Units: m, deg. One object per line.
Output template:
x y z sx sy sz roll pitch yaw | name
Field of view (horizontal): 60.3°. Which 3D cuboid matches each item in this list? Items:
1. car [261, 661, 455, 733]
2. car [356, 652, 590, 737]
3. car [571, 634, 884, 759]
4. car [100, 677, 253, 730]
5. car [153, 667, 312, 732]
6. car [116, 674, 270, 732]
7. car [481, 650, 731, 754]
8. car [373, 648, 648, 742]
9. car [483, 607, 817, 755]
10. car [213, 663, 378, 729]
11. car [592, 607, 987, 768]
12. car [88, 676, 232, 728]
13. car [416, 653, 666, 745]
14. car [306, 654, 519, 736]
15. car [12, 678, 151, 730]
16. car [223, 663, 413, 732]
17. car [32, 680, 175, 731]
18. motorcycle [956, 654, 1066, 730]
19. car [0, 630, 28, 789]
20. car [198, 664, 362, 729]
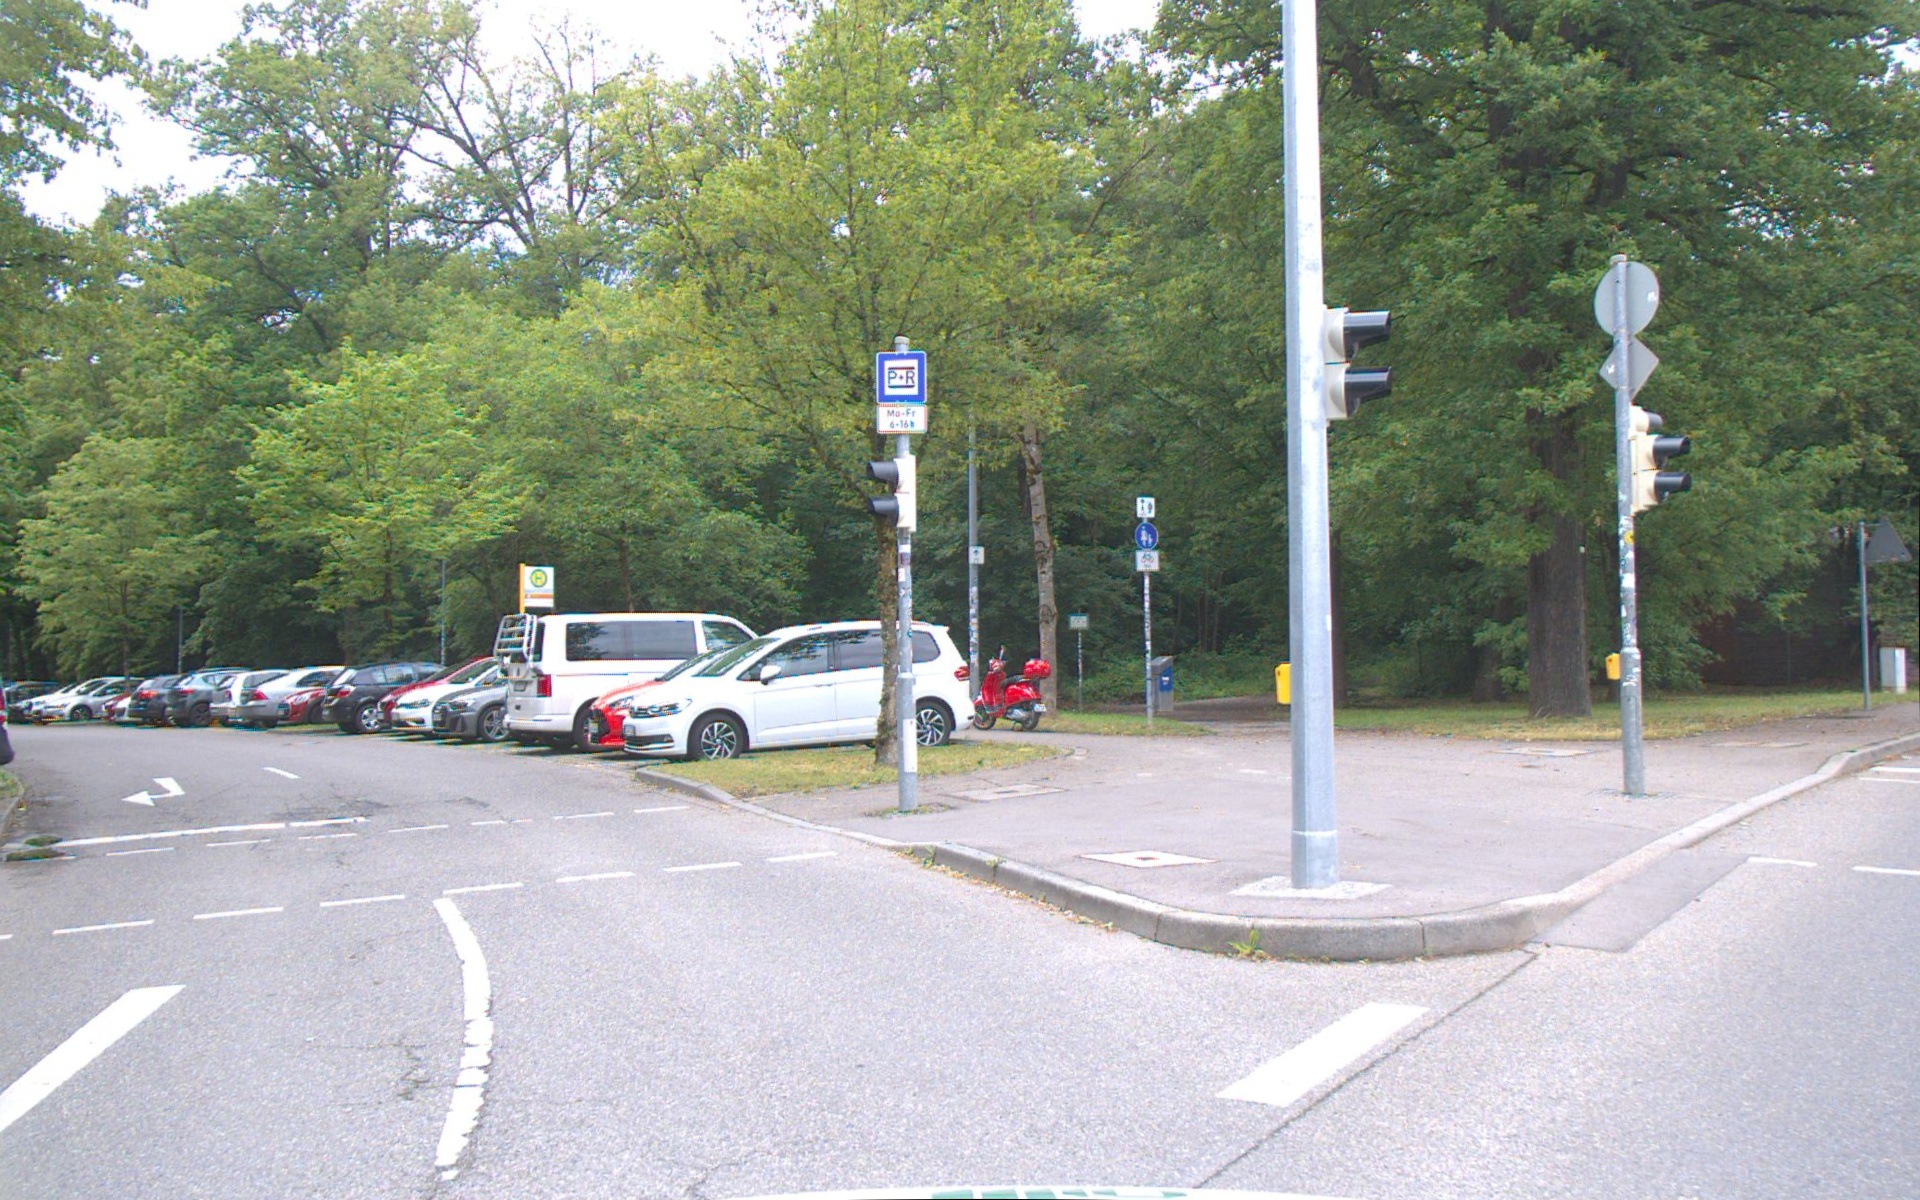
-14.443 2.306 39.767 3.963 1.475 1.913 -1 -2 -40 | car
-9.909 1.906 33.765 4.195 1.506 1.895 -1 -3 -36 | car
-3.239 1.287 23.029 3.947 1.583 1.930 0 -2 -26 | car
-24.175 3.166 51.089 3.914 1.436 1.848 -1 -2 -43 | car
-20.642 2.799 46.988 3.746 1.617 1.920 -1 -2 -41 | car
-22.617 3.024 48.826 1.744 1.507 3.753 -3 -2 45 | car
-5.903 1.645 27.683 3.690 1.582 1.824 1 -1 -34 | car
-8.516 1.764 31.489 4.728 1.502 1.832 -1 -1 -33 | car
-4.684 1.189 25.218 4.604 2.057 2.060 1 -2 -33 | car
-17.525 2.527 43.678 3.679 1.537 1.726 -1 -3 -40 | car
-2.140 1.059 20.834 4.466 1.723 2.146 -1 -2 -27 | car
-25.777 3.279 53.363 1.834 1.466 3.789 -3 -2 38 | car
-7.429 1.737 29.403 3.952 1.509 1.855 1 -4 -34 | car
-11.747 2.018 35.557 3.955 1.509 1.898 -1 -2 -36 | car
-30.949 3.642 58.333 3.990 1.586 1.946 -1 -2 -44 | car
-16.178 2.443 41.747 4.098 1.487 1.839 -1 -3 -38 | car
-29.240 3.573 56.512 1.851 1.510 3.965 -3 -2 42 | car
0.820 1.491 27.220 0.670 1.181 1.984 0 -2 -38 | motorcycle
-14.265 1.471 20.105 5.036 1.949 1.957 -2 -2 -32 | car
-18.657 2.634 45.428 3.822 1.573 1.703 -1 -3 -42 | car
